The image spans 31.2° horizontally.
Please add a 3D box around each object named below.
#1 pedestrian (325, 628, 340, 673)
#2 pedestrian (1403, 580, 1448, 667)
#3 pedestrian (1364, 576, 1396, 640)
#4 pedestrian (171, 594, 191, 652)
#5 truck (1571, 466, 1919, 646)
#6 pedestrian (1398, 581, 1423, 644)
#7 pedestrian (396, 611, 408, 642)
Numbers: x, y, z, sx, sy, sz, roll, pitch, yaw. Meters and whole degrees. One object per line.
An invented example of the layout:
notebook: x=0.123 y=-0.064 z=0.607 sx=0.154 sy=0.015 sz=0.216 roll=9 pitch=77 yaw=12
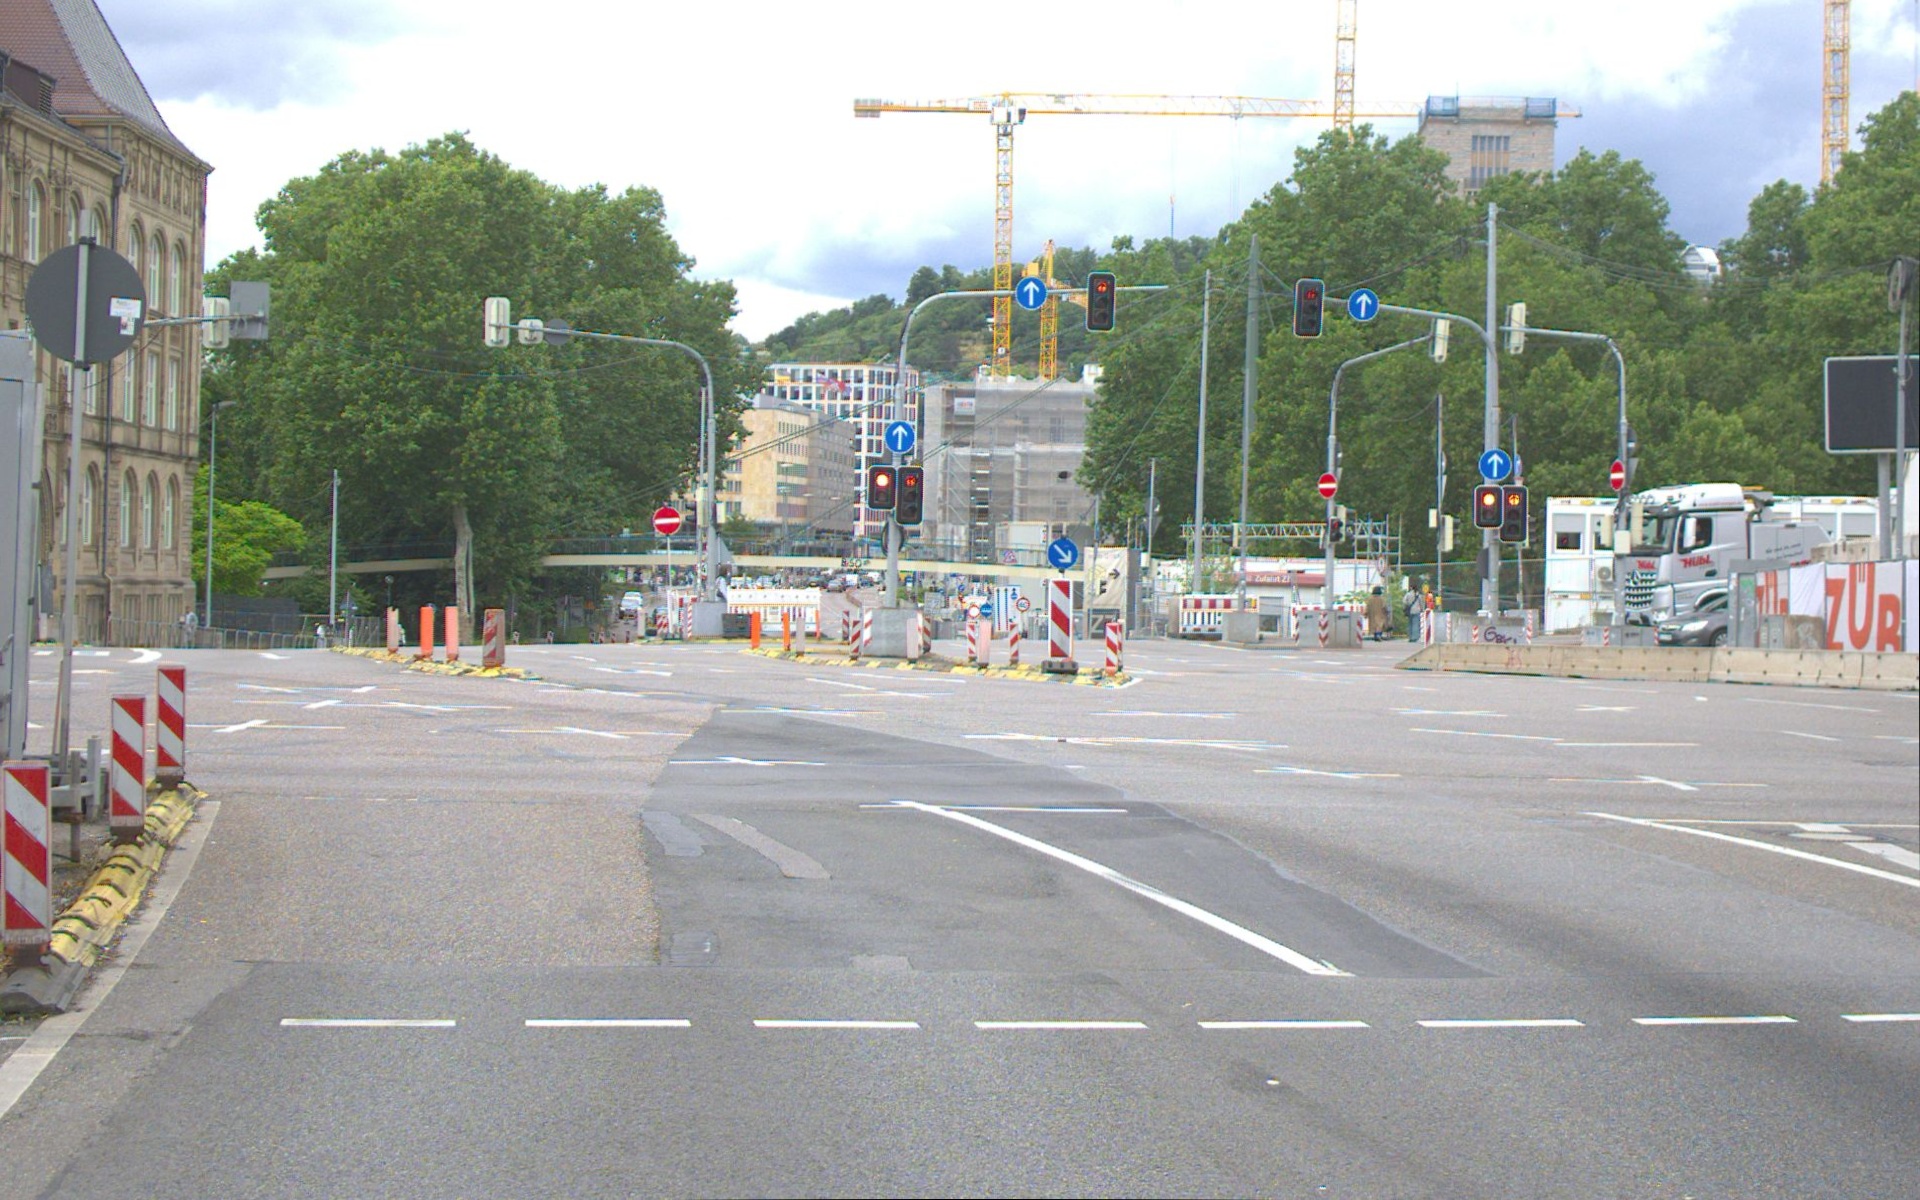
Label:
pedestrian: x=-28.140 y=2.249 z=154.087 sx=0.524 sy=2.007 sz=0.567 roll=1 pitch=1 yaw=0
pedestrian: x=9.133 y=0.462 z=67.491 sx=0.729 sy=1.683 sz=0.678 roll=1 pitch=1 yaw=-1
pedestrian: x=11.258 y=0.204 z=92.202 sx=0.729 sy=1.683 sz=0.678 roll=1 pitch=1 yaw=-1
pedestrian: x=-27.130 y=0.800 z=119.736 sx=0.524 sy=2.007 sz=0.567 roll=1 pitch=1 yaw=0
truck: x=21.359 y=-0.989 z=81.997 sx=13.022 sy=4.027 sz=3.952 roll=1 pitch=1 yaw=-20
pedestrian: x=12.095 y=0.336 z=92.290 sx=0.566 sy=1.683 sz=0.472 roll=1 pitch=1 yaw=-1
pedestrian: x=-28.685 y=1.366 z=176.701 sx=0.536 sy=1.587 sz=0.516 roll=1 pitch=1 yaw=-4
